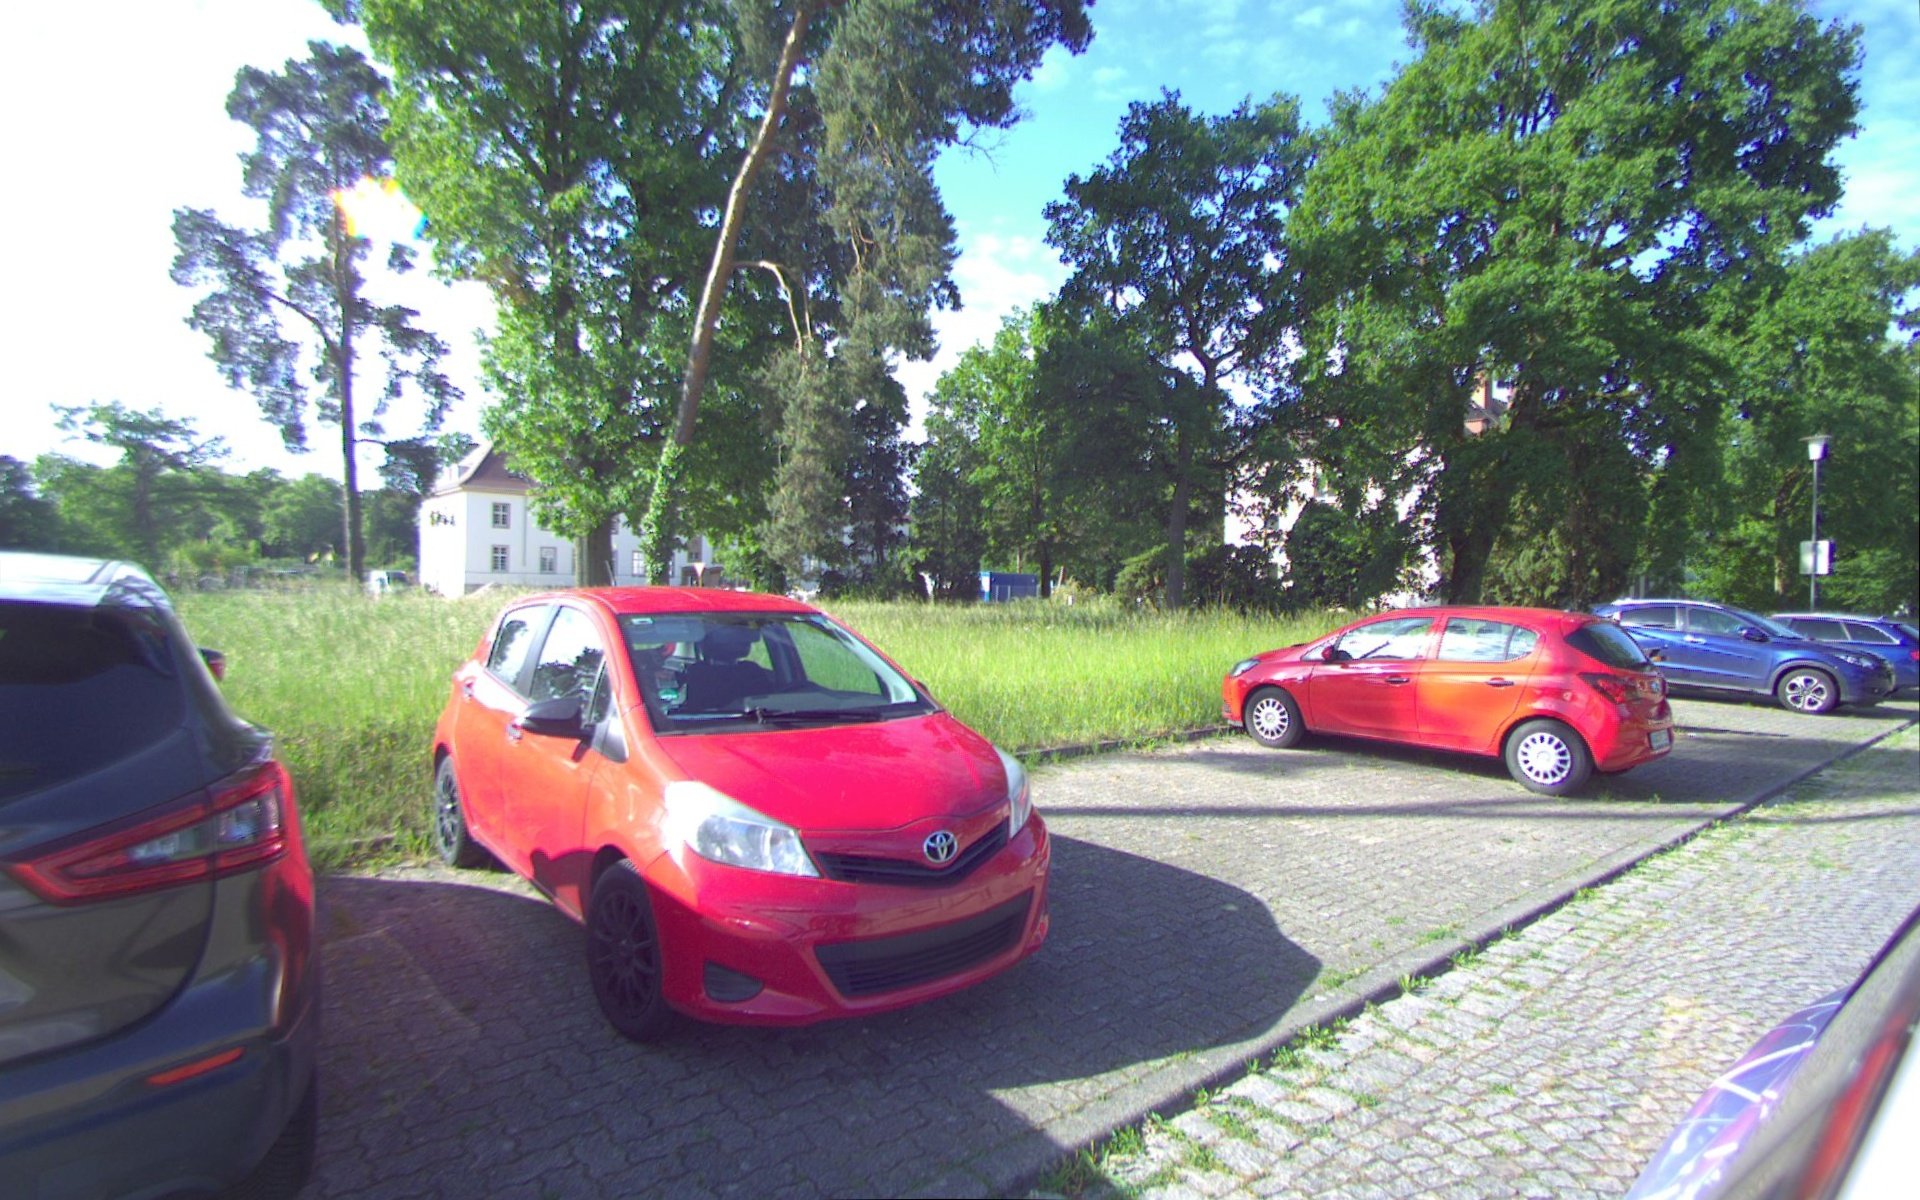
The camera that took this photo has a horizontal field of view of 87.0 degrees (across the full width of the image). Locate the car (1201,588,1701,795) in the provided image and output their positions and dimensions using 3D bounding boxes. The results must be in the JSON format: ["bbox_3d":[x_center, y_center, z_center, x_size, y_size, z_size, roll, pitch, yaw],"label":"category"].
[{"bbox_3d":[4.400,0.672,9.590,1.513,1.514,3.995,1,1,-40],"label":"car"}]

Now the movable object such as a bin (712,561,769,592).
[{"bbox_3d":[-21.560,-2.301,99.303,4.974,2.937,2.182,1,1,-34],"label":"movable object such as a bin"}]

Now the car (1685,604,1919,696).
[{"bbox_3d":[15.984,0.860,18.768,1.715,1.485,3.809,1,1,-39],"label":"car"}]

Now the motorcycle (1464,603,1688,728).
[{"bbox_3d":[7.682,0.757,12.722,0.863,1.370,2.235,1,1,-38],"label":"motorcycle"}]

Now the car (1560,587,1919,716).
[{"bbox_3d":[12.179,0.693,16.042,1.622,1.618,4.272,1,2,-40],"label":"car"}]

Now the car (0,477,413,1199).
[{"bbox_3d":[-3.098,0.556,2.957,1.755,1.631,4.114,1,1,-41],"label":"car"}]

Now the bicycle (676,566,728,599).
[{"bbox_3d":[-16.196,-1.126,63.699,3.077,2.038,0.952,-2,2,-42],"label":"bicycle"}]

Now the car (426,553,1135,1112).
[{"bbox_3d":[-1.197,0.592,4.857,1.673,1.558,3.834,1,2,-39],"label":"car"}]

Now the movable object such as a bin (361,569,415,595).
[{"bbox_3d":[-47.386,-1.500,83.808,5.713,2.039,2.092,2,1,41],"label":"movable object such as a bin"}]
